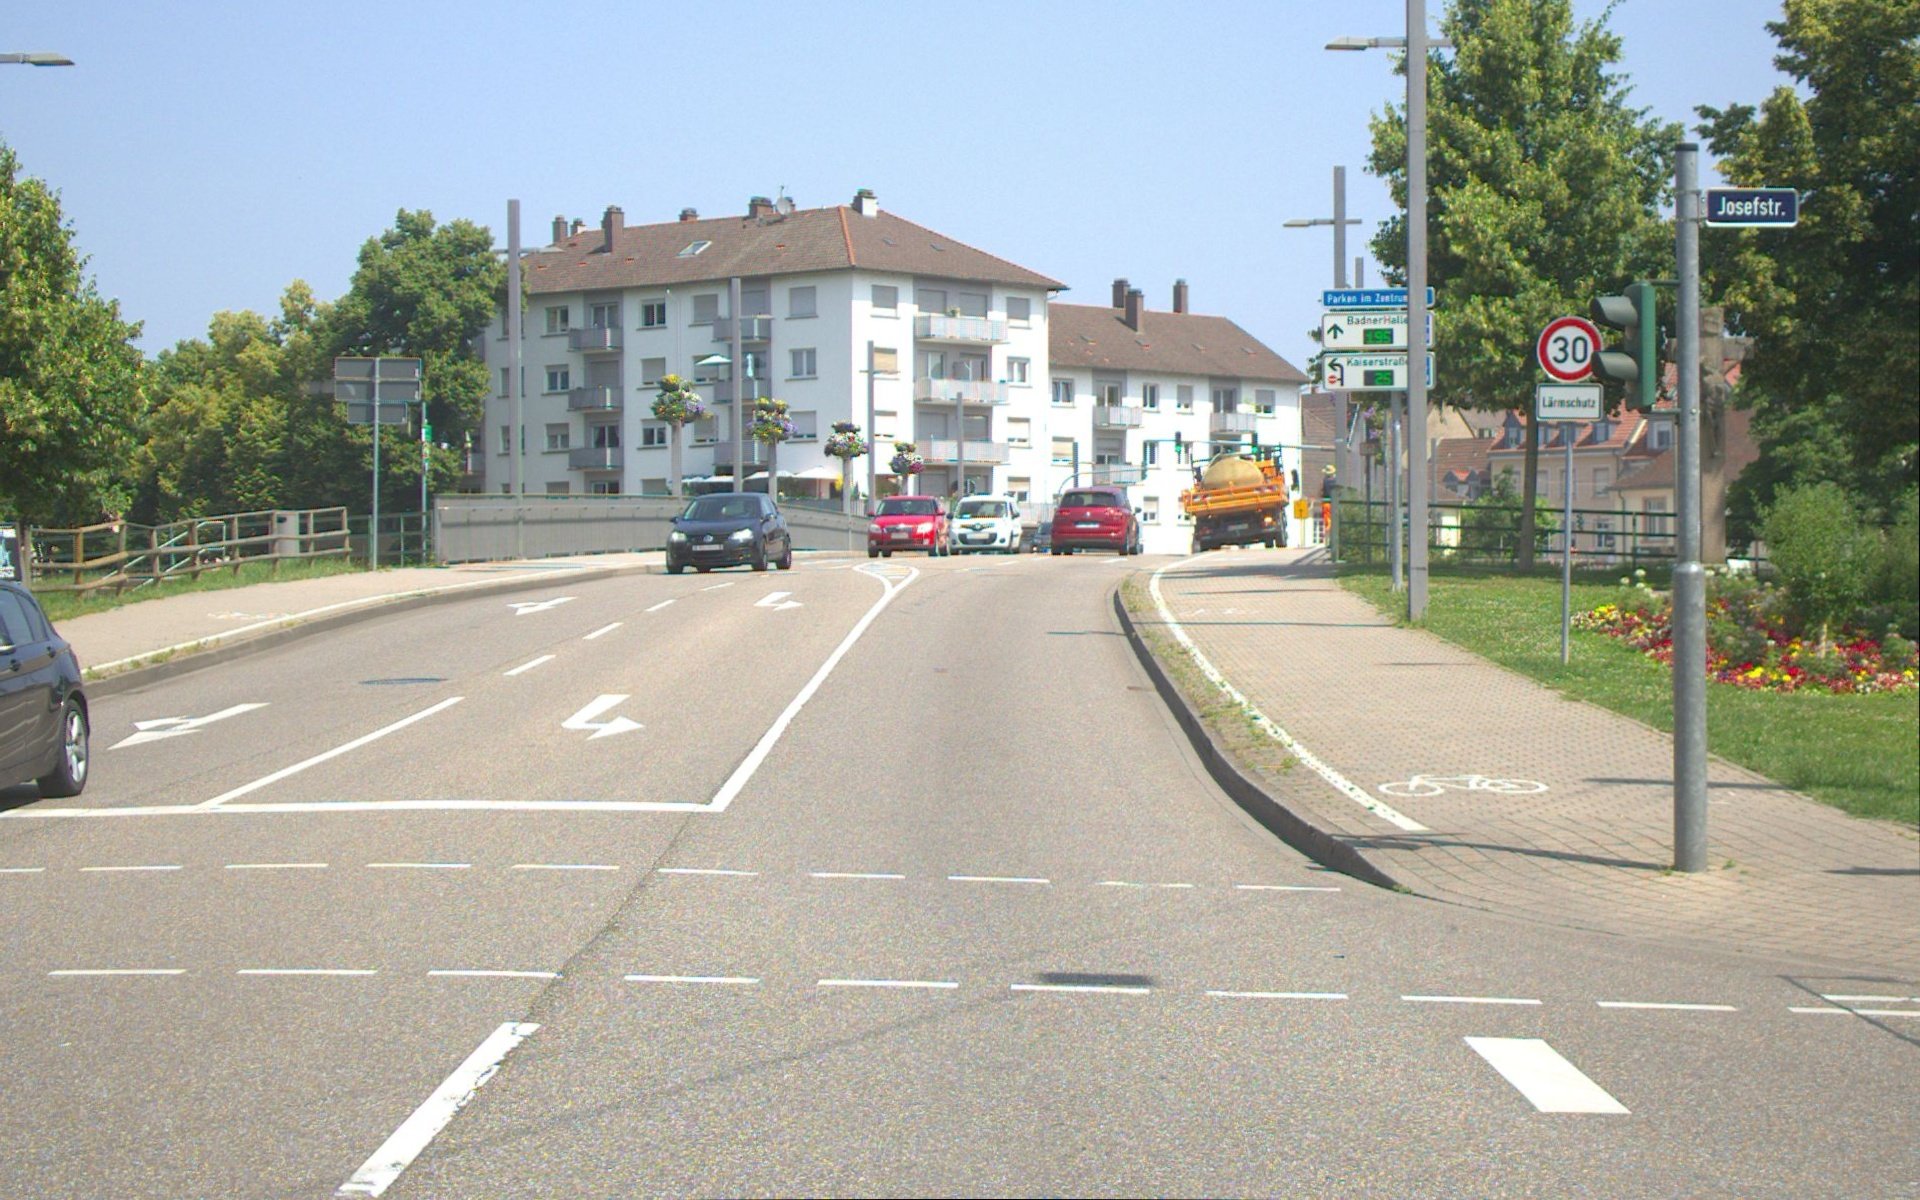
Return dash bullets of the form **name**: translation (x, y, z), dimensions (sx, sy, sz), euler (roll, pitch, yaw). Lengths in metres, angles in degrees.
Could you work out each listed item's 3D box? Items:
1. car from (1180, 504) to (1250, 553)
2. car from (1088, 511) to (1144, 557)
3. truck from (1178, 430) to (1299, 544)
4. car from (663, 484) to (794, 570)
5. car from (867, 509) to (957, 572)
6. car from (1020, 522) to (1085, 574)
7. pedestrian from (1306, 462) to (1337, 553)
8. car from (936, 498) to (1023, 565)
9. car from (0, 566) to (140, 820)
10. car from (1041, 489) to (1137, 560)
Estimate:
- **car**: translation (8.379, -2.326, 112.548), dimensions (2.038, 1.498, 4.416), euler (1, 0, 7)
- **car**: translation (6.177, -2.598, 135.853), dimensions (1.682, 1.702, 3.850), euler (1, 0, 10)
- **truck**: translation (6.911, -2.734, 84.763), dimensions (2.606, 2.682, 5.821), euler (-1, 1, 8)
- **car**: translation (-4.206, -1.310, 63.009), dimensions (1.714, 1.480, 4.030), euler (1, 0, 6)
- **car**: translation (-1.120, -1.404, 81.825), dimensions (1.647, 1.459, 3.860), euler (0, 1, 7)
- **car**: translation (3.197, -1.765, 118.176), dimensions (1.737, 1.635, 3.920), euler (-3, 0, 8)
- **pedestrian**: translation (7.824, -2.003, 74.442), dimensions (0.546, 1.953, 0.673), euler (0, 0, -3)
- **car**: translation (0.593, -1.968, 99.791), dimensions (1.837, 1.854, 4.661), euler (-2, 0, 9)
- **car**: translation (-6.290, 0.573, 19.773), dimensions (1.836, 1.394, 4.049), euler (-3, 1, 4)
- **car**: translation (3.077, -1.766, 81.274), dimensions (1.990, 1.607, 4.341), euler (-1, 1, 6)
